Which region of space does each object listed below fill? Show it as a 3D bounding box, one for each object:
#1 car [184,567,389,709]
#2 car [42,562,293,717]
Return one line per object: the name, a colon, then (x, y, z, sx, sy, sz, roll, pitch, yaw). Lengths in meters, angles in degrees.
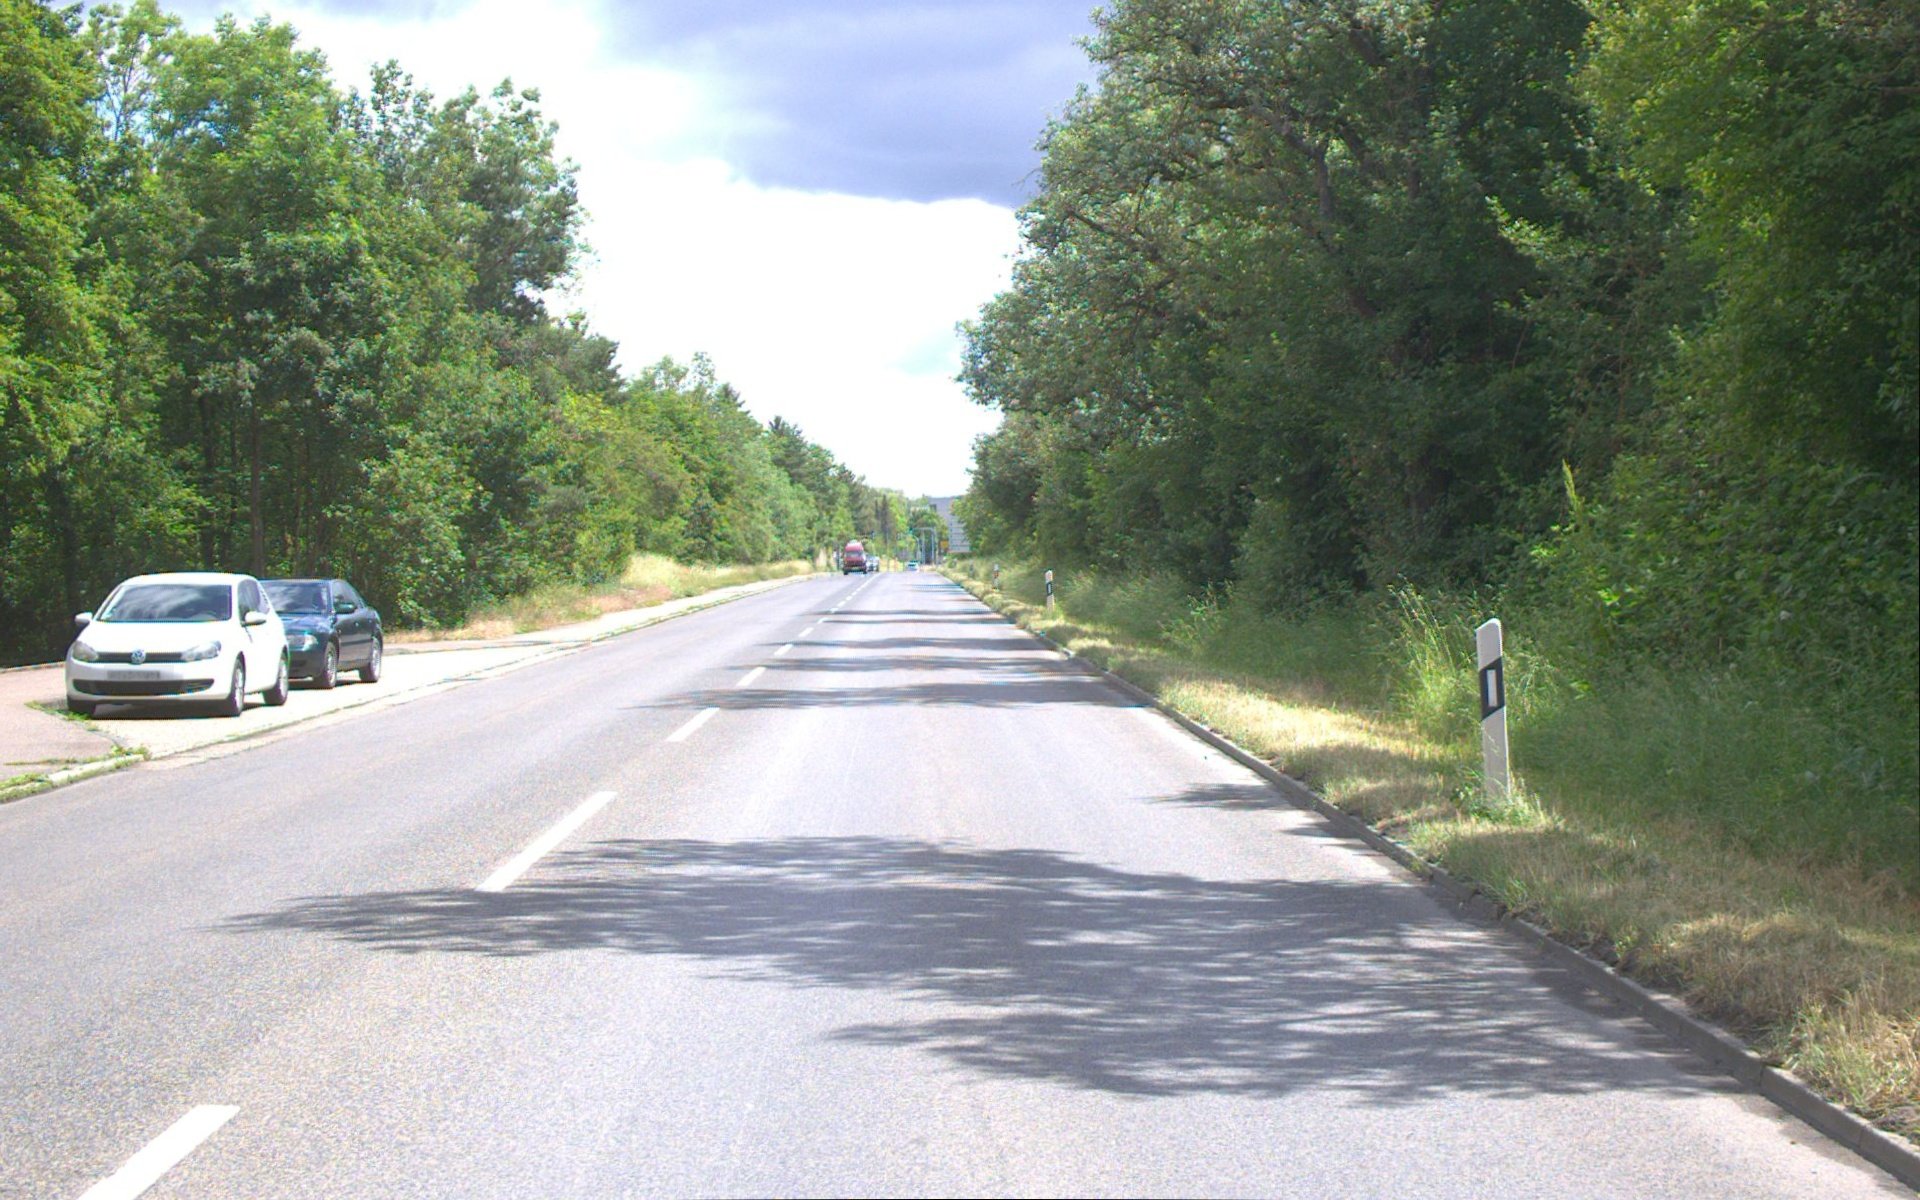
car: (-8.590, 0.445, 44.138, 1.798, 1.619, 3.955, -1, 2, 1)
car: (-8.364, 0.407, 36.610, 1.798, 1.538, 3.955, -1, 0, -1)
